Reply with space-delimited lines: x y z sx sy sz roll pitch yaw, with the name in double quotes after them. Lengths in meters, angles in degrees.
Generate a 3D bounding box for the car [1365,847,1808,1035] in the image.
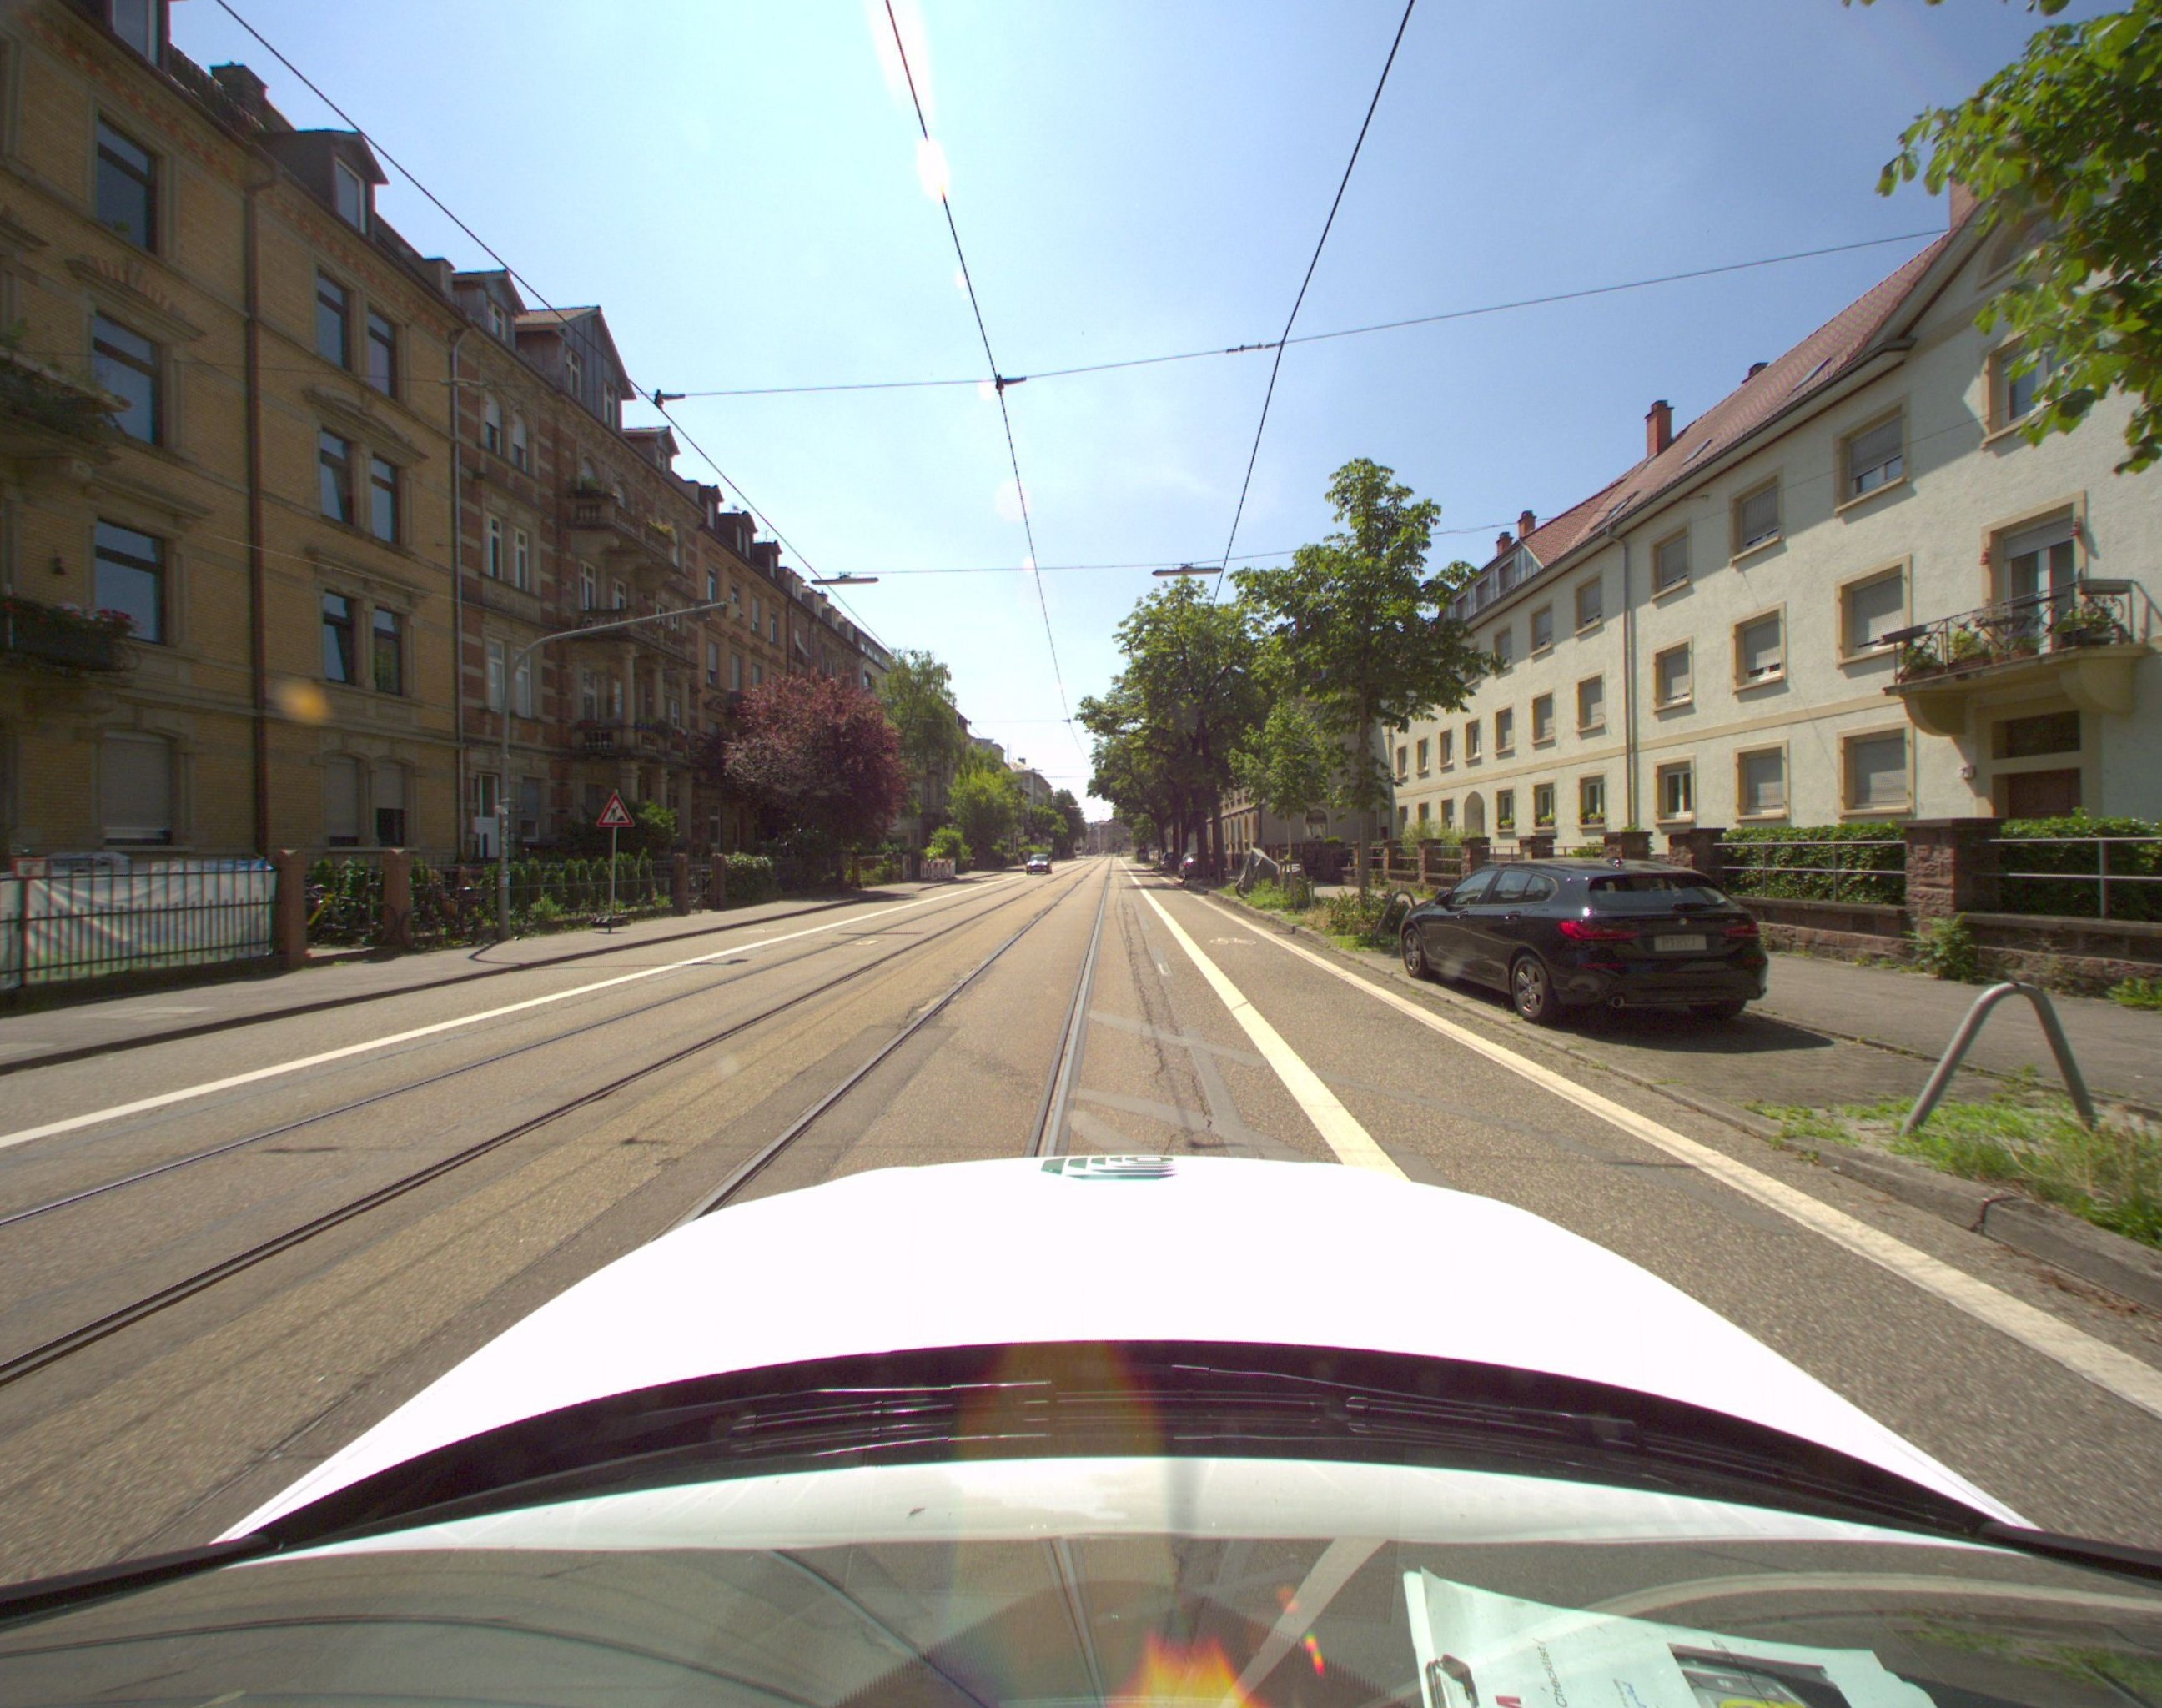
4.825 0.660 8.822 1.763 1.426 4.861 -1 0 0 "car"

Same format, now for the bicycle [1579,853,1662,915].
10.310 0.539 15.640 0.496 1.102 1.809 -1 0 5 "bicycle"

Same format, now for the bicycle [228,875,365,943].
-12.211 0.847 12.686 1.772 1.003 0.474 -1 0 5 "bicycle"

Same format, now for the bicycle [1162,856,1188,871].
6.871 0.705 59.652 1.878 1.052 0.539 -1 -1 8 "bicycle"

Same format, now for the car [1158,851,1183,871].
7.059 0.532 64.293 1.615 1.448 3.812 -4 -1 2 "car"

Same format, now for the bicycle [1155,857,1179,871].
7.279 0.866 68.815 1.954 1.113 0.599 -2 -1 4 "bicycle"

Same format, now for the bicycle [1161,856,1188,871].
6.869 0.700 60.011 1.952 1.063 0.600 -1 -1 8 "bicycle"

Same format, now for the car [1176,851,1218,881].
6.465 0.630 45.621 1.767 1.501 4.306 -2 0 1 "car"

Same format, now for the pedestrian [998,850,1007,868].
-7.345 0.452 76.360 0.748 1.629 0.833 -1 0 1 "pedestrian"

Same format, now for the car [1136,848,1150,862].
9.306 0.191 122.804 1.985 2.035 4.700 -1 0 2 "car"

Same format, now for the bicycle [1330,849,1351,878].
11.094 0.387 34.868 0.457 1.191 1.565 -2 0 3 "bicycle"

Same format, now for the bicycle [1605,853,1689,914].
11.003 0.550 15.893 0.496 1.102 1.809 -1 0 5 "bicycle"

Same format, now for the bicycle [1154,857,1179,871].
7.297 0.869 69.491 2.001 1.113 0.640 -2 -1 4 "bicycle"

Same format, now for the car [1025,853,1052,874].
-3.123 0.670 60.489 1.680 1.454 3.750 -1 0 2 "car"

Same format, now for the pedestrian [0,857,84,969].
-12.906 0.703 9.859 0.708 1.298 0.711 -3 0 -2 "pedestrian"

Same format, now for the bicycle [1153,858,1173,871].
7.425 0.915 73.749 1.809 1.113 0.493 -2 -1 1 "bicycle"

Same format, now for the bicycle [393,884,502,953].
-10.581 1.041 13.682 0.452 1.003 1.805 -1 0 -1 "bicycle"

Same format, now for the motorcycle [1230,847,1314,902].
5.626 0.584 24.144 2.292 1.540 0.874 -1 0 45 "motorcycle"

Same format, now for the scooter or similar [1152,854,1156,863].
9.903 0.551 110.620 0.499 1.230 1.574 -1 0 2 "scooter or similar"
